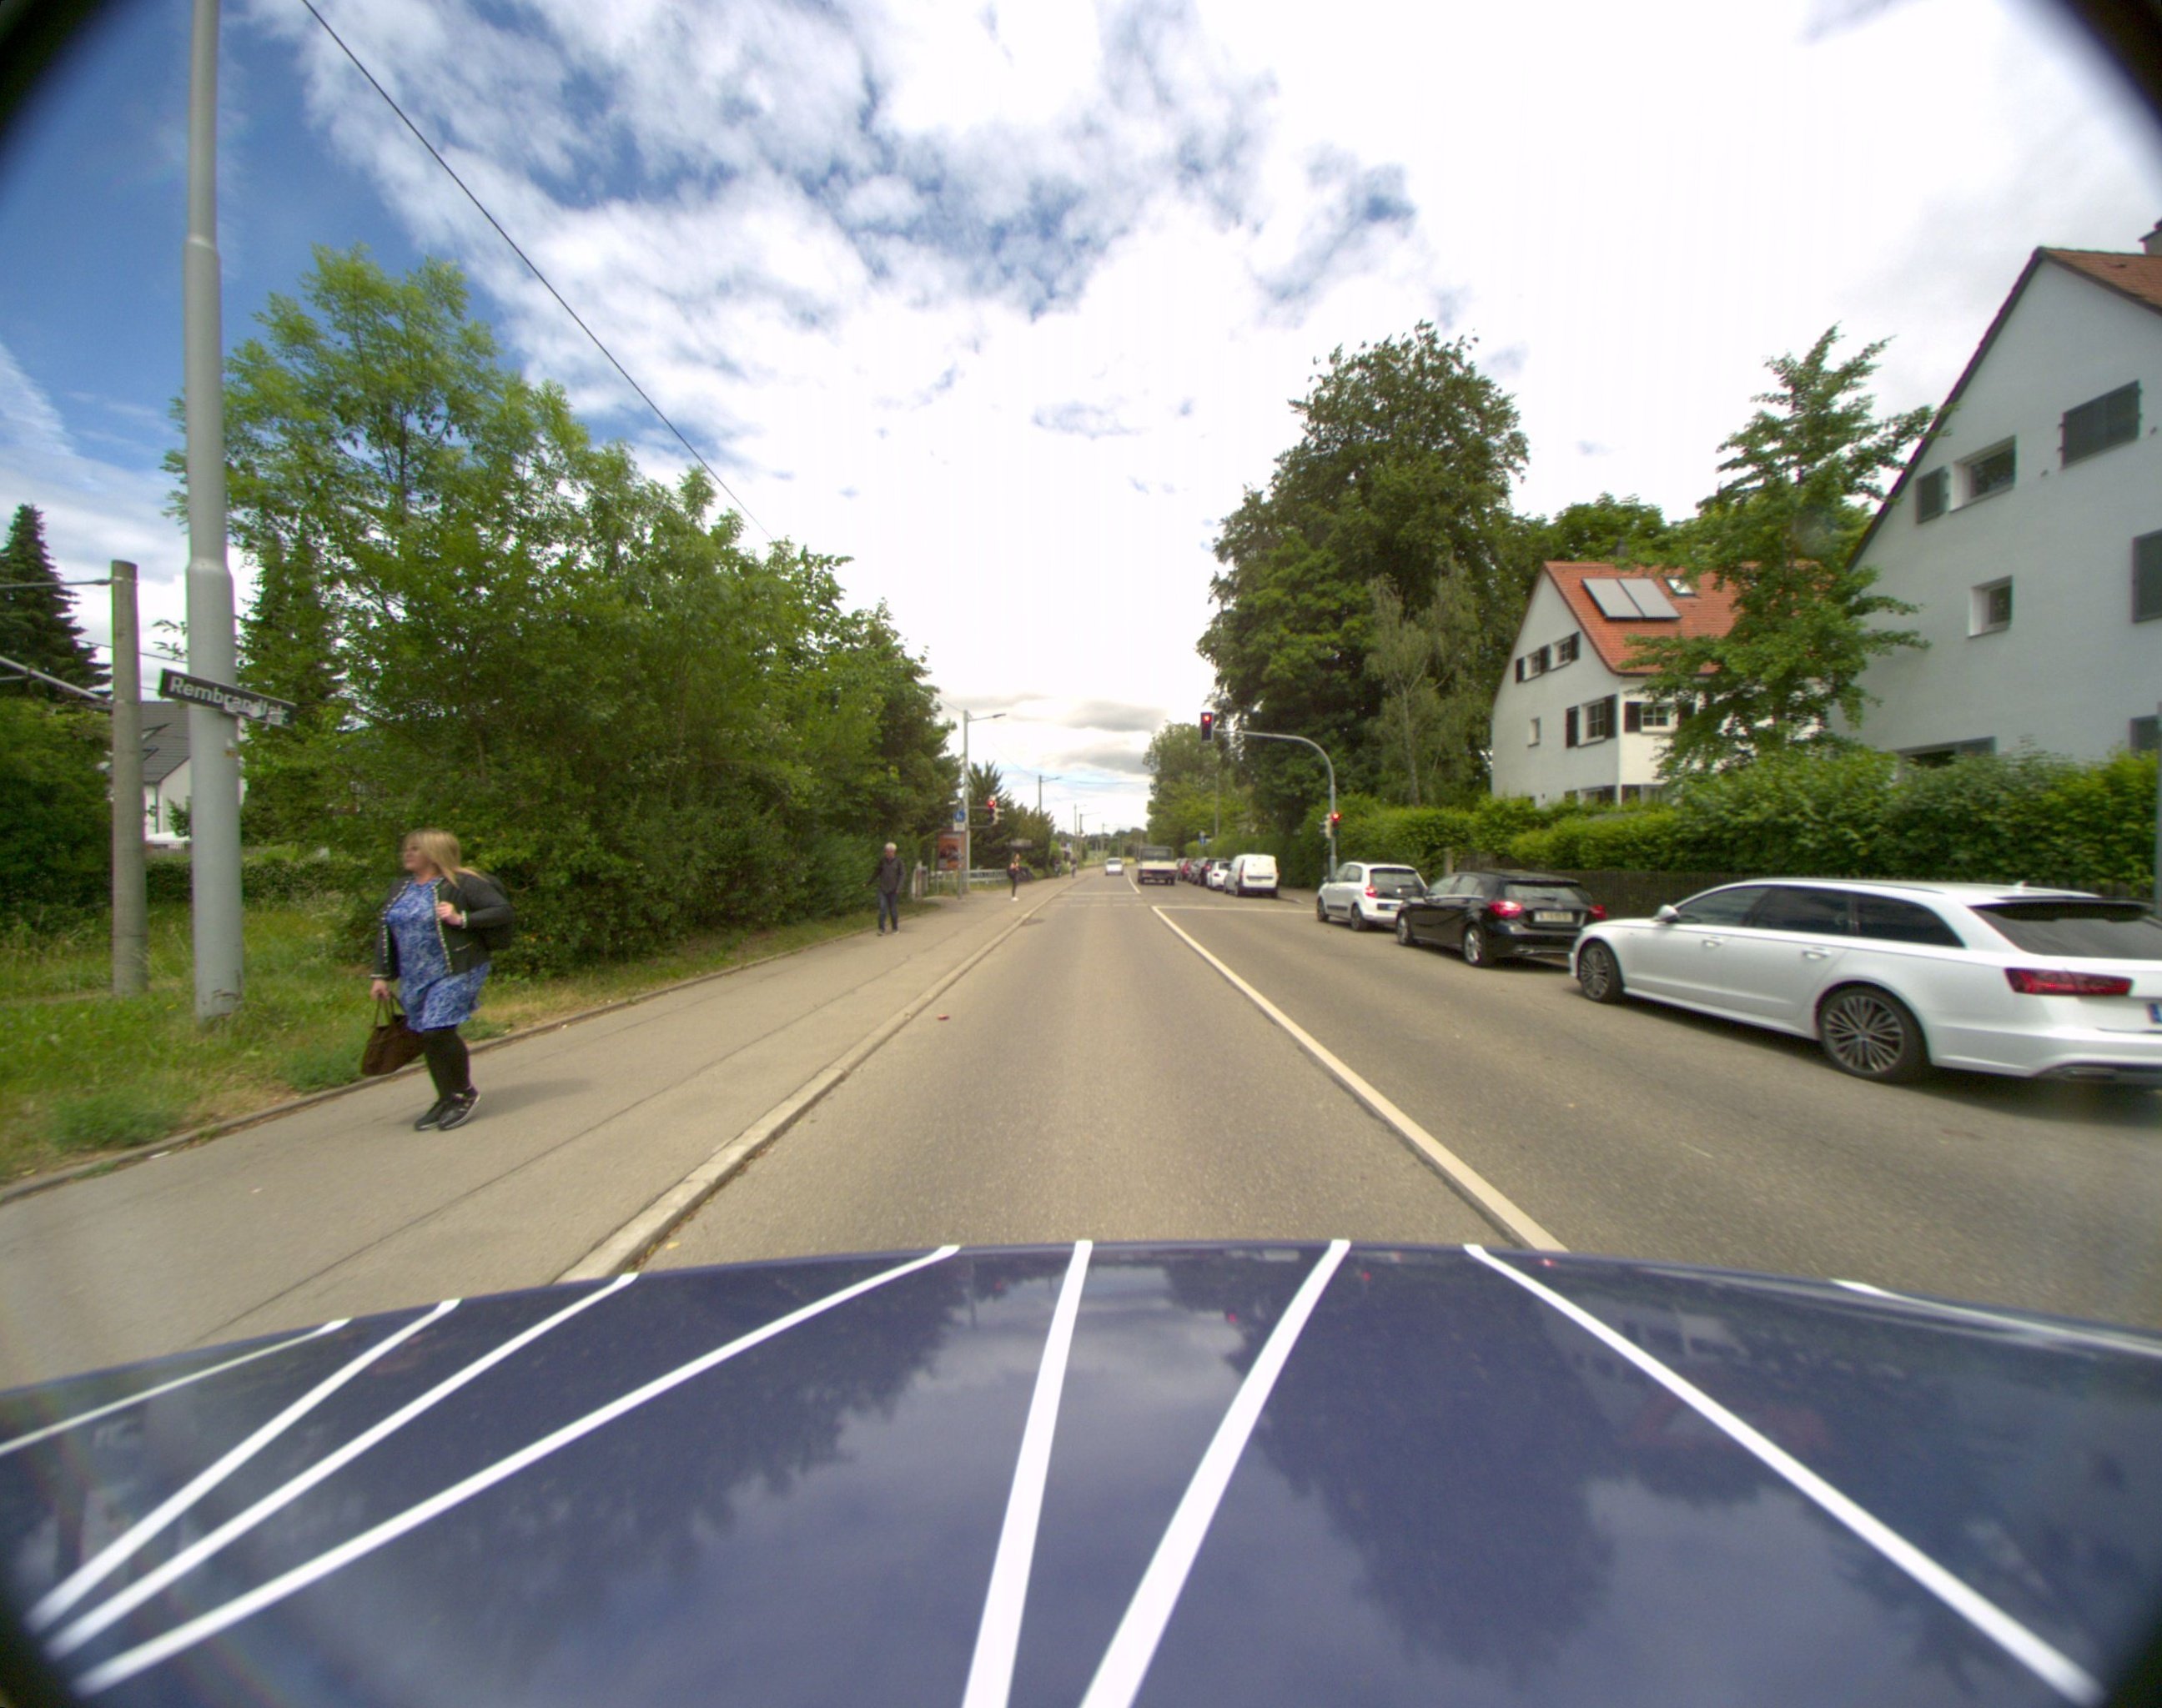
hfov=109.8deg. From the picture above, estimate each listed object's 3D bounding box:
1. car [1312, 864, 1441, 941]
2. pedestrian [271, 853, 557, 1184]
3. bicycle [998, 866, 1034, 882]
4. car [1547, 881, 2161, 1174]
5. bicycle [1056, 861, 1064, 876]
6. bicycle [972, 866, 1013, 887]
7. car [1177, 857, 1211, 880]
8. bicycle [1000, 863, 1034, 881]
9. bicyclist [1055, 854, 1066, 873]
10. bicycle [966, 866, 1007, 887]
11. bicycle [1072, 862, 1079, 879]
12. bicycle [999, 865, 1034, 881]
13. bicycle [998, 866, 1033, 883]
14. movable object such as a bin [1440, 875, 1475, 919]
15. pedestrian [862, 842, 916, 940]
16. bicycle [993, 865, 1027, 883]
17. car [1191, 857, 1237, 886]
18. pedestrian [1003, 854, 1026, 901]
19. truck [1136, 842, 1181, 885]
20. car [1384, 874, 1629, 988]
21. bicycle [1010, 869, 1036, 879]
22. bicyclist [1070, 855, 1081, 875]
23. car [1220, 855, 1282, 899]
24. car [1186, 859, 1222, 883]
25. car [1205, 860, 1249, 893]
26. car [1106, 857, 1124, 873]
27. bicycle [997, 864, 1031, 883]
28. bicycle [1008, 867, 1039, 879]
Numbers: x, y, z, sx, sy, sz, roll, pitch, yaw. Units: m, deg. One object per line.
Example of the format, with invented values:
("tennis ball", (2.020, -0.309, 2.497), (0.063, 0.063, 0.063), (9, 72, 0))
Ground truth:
("car", (6.805, 1.046, 17.902), (1.706, 1.534, 3.743), (1, 0, 3))
("pedestrian", (-3.614, 0.830, 4.194), (0.841, 1.649, 0.766), (-2, 1, 5))
("bicycle", (-4.131, 1.293, 48.225), (2.206, 0.932, 0.451), (-2, 1, -1))
("car", (6.519, 1.075, 6.746), (1.810, 1.450, 5.069), (1, 0, 3))
("bicycle", (-1.644, 1.104, 60.028), (0.451, 1.143, 2.208), (0, 0, 1))
("bicycle", (-4.837, 1.255, 41.648), (2.093, 1.041, 0.559), (-3, 1, 5))
("car", (8.077, 1.015, 54.548), (1.794, 1.601, 4.416), (0, 0, 0))
("bicycle", (-4.218, 1.184, 50.155), (2.205, 1.143, 0.451), (0, 1, 8))
("bicyclist", (-1.648, 0.752, 60.065), (0.826, 1.529, 0.862), (0, 0, 1))
("bicycle", (-5.019, 1.190, 40.247), (2.093, 1.074, 0.547), (1, 1, 4))
("bicycle", (-0.410, 1.307, 60.767), (0.451, 1.278, 2.207), (-2, 0, -2))
("bicycle", (-4.212, 1.241, 49.729), (2.205, 1.041, 0.451), (0, 1, 8))
("bicycle", (-4.174, 1.289, 48.700), (2.206, 1.041, 0.451), (0, 1, 0))
("movable object such as a bin", (9.782, 1.099, 19.753), (0.517, 1.074, 0.749), (-3, 0, 2))
("pedestrian", (-3.794, 0.719, 15.074), (0.746, 1.872, 0.801), (-1, 1, 8))
("bicycle", (-4.376, 1.209, 46.925), (2.090, 1.041, 0.451), (1, 1, 23))
("car", (7.637, 0.995, 43.975), (1.901, 1.584, 4.644), (0, 0, 1))
("pedestrian", (-2.390, 0.830, 27.475), (0.649, 1.655, 0.708), (-1, 1, 6))
("truck", (4.529, 0.544, 45.469), (2.194, 2.357, 6.906), (1, 0, 2))
("car", (6.626, 1.095, 12.471), (1.747, 1.402, 4.324), (1, 0, 3))
("bicycle", (-3.849, 1.350, 50.737), (1.682, 0.635, 0.332), (-2, 1, -9))
("bicyclist", (-0.404, 0.875, 60.752), (0.826, 1.529, 0.862), (-2, 1, 0))
("car", (7.313, 0.944, 33.135), (1.680, 1.748, 4.608), (2, 0, 1))
("car", (7.930, 1.060, 49.203), (1.737, 1.450, 4.237), (0, 0, 1))
("car", (7.337, 1.100, 38.402), (1.708, 1.445, 4.359), (3, 0, 5))
("car", (3.230, 1.022, 72.049), (1.665, 1.394, 3.900), (0, 0, 2))
("bicycle", (-4.220, 1.201, 47.707), (2.094, 1.144, 0.530), (-1, 1, -1))
("bicycle", (-3.973, 1.312, 52.515), (2.080, 0.821, 0.451), (-2, 1, 8))
